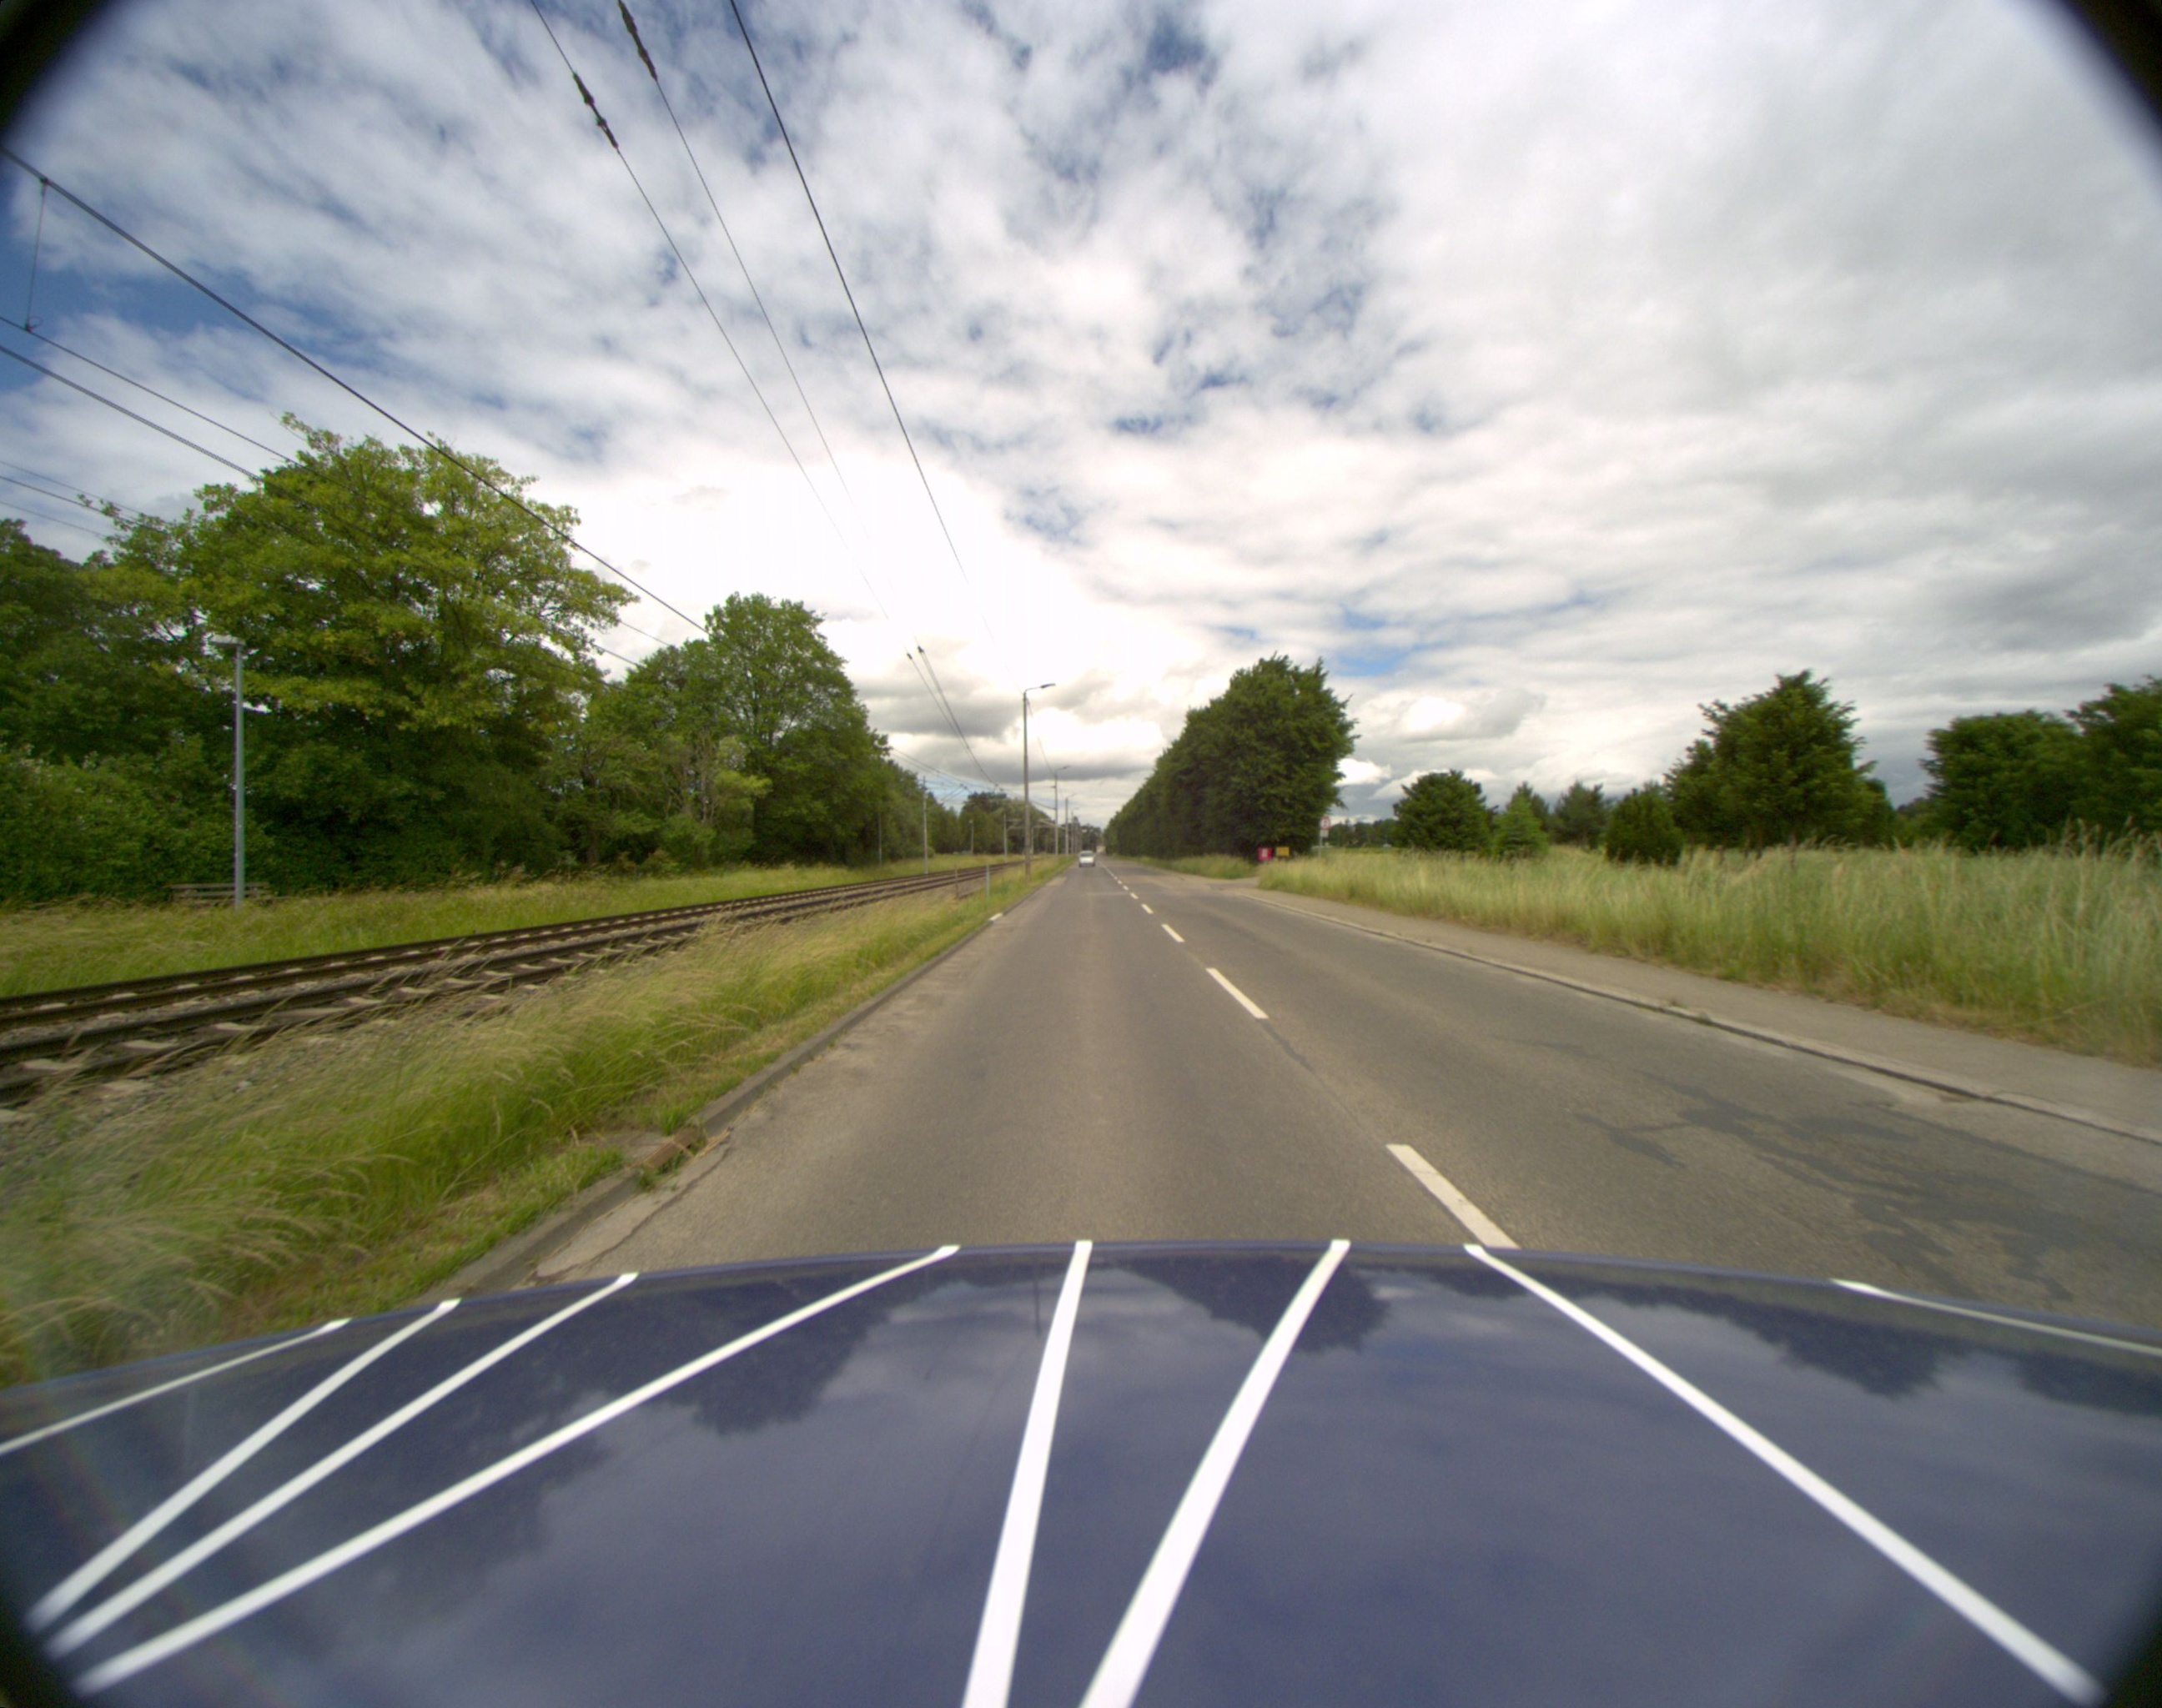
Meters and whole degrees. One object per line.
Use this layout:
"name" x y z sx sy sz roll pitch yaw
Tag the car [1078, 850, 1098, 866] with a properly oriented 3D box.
"car" 0.719 0.398 79.647 1.999 1.679 3.999 0 0 0
